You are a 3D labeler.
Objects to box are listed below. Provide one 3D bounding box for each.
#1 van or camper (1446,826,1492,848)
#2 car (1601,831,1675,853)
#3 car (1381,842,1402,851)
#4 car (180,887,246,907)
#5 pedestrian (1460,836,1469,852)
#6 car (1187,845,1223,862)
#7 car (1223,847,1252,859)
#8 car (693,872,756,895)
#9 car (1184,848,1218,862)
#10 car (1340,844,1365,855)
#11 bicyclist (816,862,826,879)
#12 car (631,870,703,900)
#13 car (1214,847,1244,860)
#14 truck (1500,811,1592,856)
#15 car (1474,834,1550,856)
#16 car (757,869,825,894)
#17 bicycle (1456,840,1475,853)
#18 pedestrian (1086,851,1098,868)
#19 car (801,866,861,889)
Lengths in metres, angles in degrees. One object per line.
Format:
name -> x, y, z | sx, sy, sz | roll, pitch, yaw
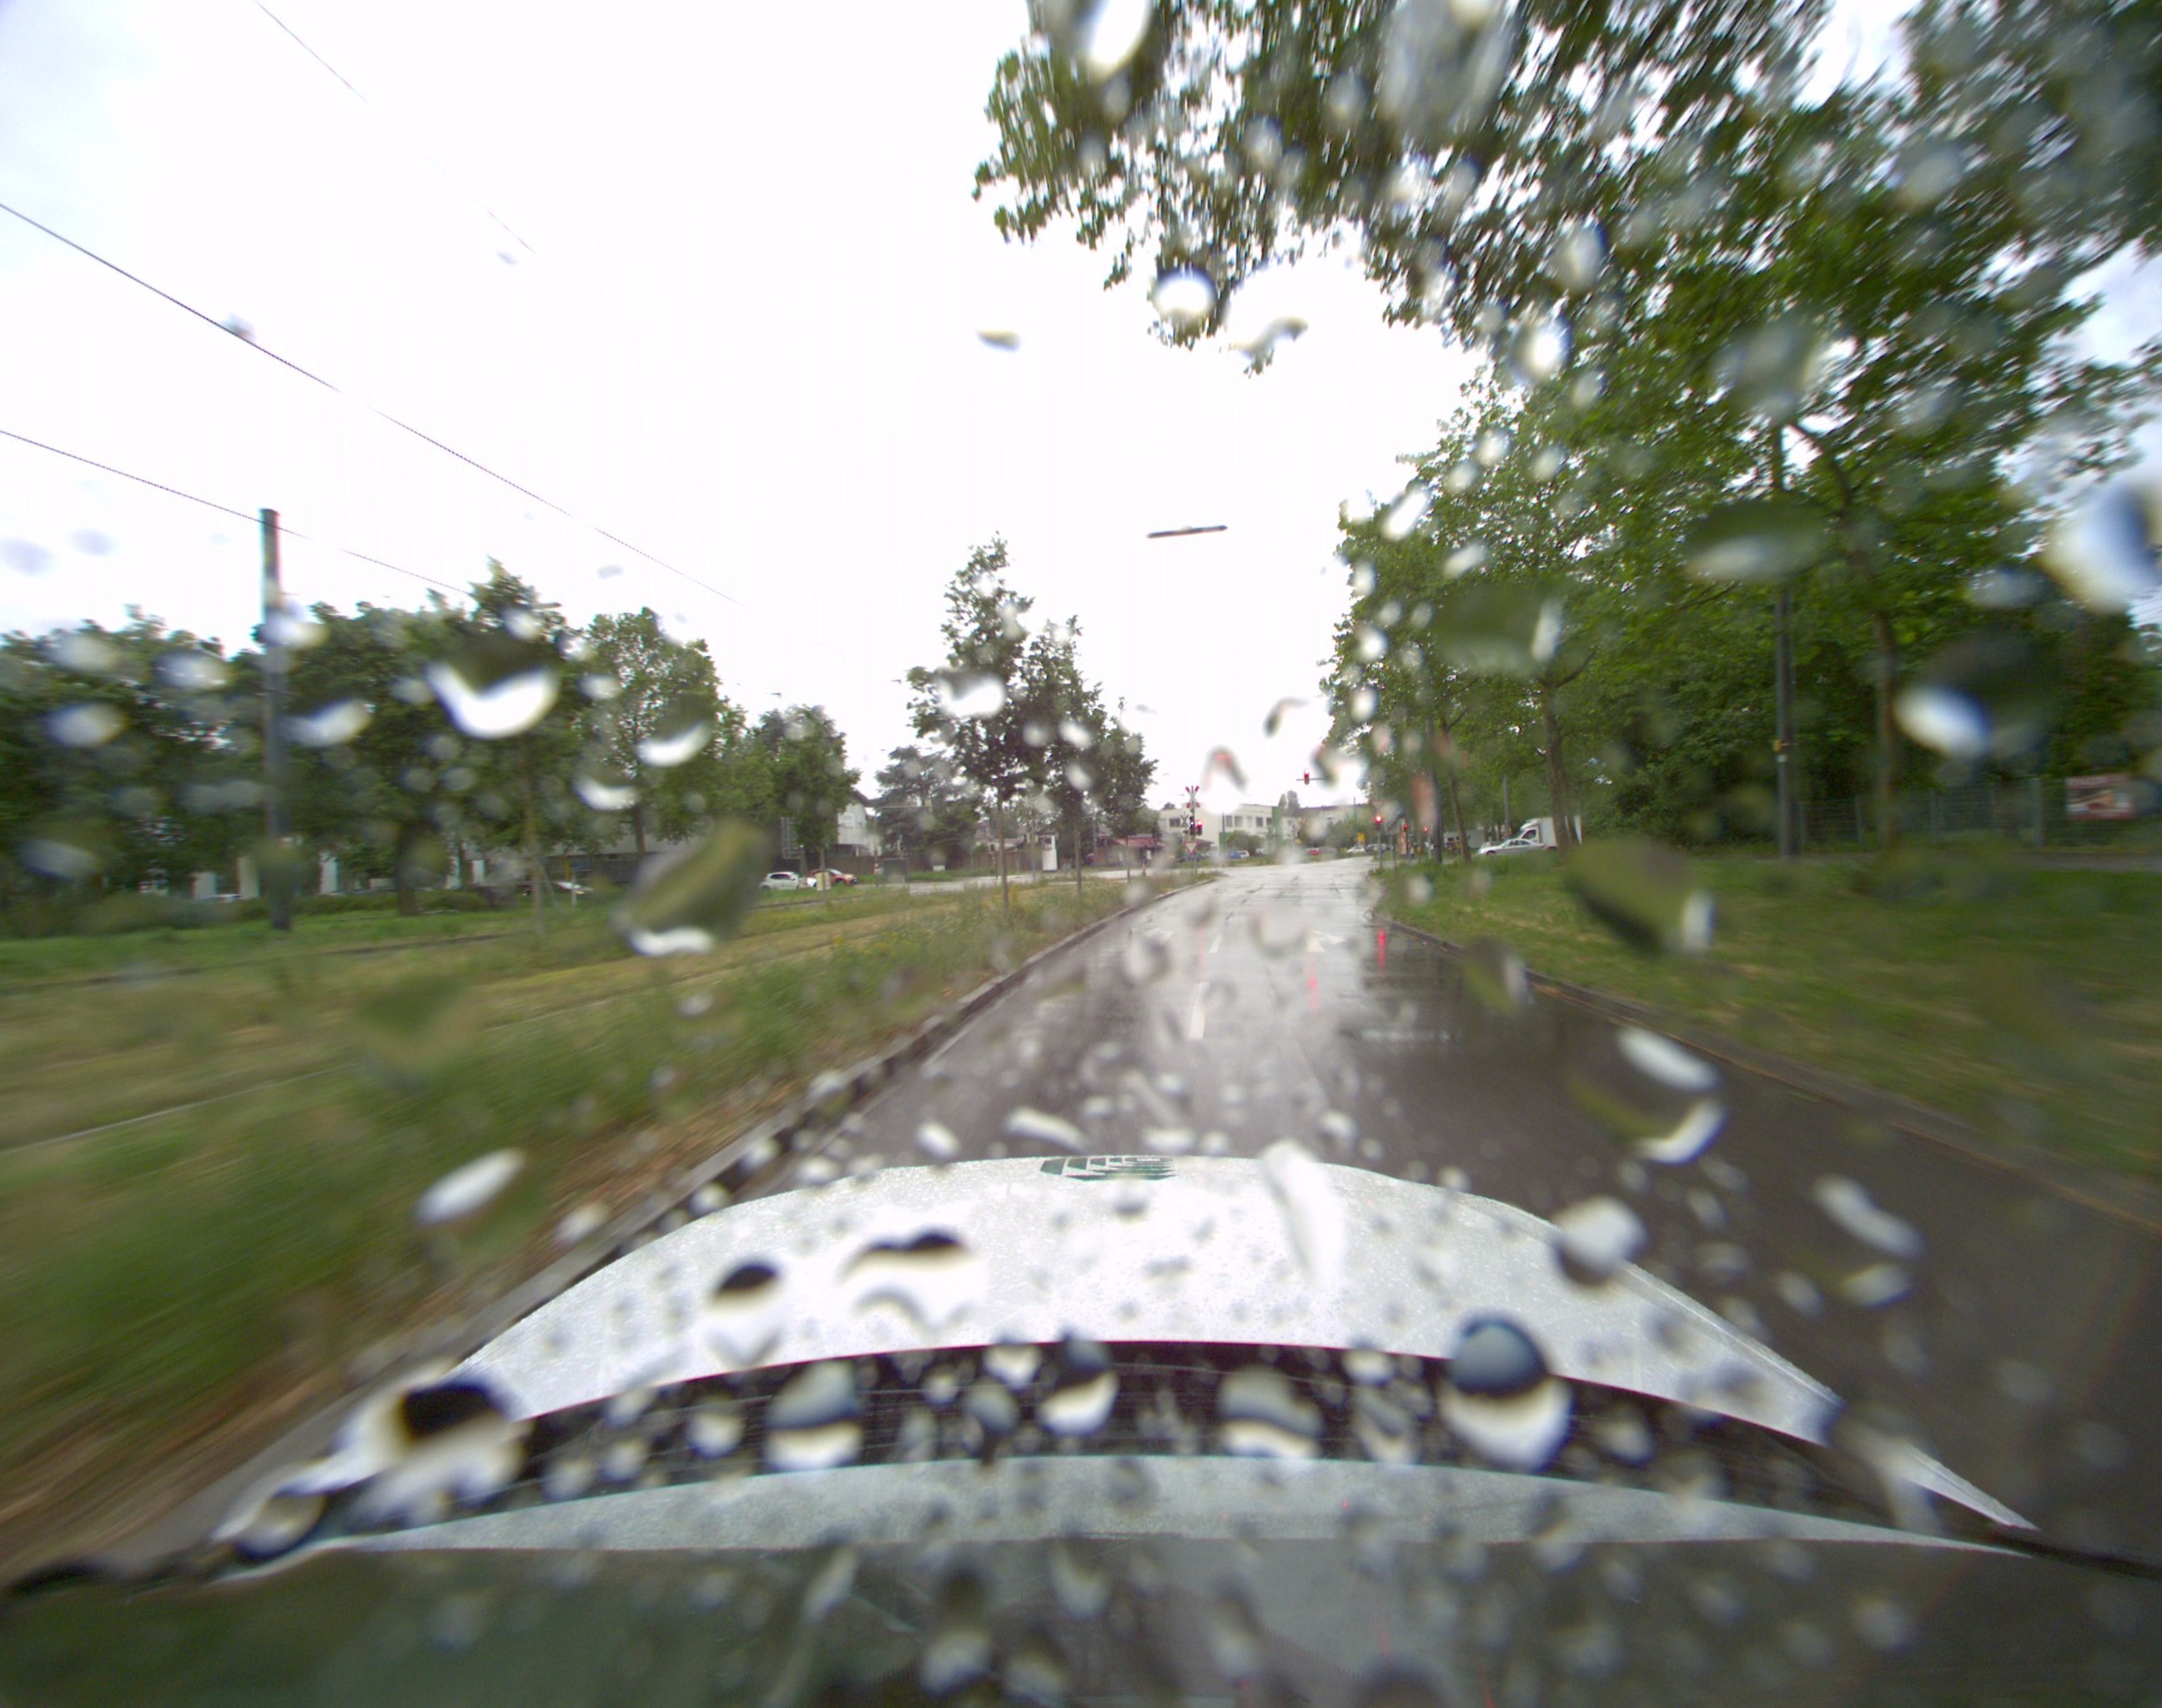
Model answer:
van or camper -> 51.003, -2.253, 107.198 | 5.170, 2.697, 2.258 | -1, 1, 34
car -> 40.346, -0.862, 59.109 | 4.082, 1.390, 1.650 | -2, -1, 12
car -> 68.434, -1.688, 179.599 | 4.099, 1.860, 1.682 | -3, -1, 22
car -> -74.437, 3.669, 69.898 | 3.973, 1.420, 1.538 | -3, 0, 1
pedestrian -> 36.177, -0.979, 76.816 | 0.573, 1.475, 0.500 | -3, -1, 3
car -> 15.450, -0.046, 101.772 | 4.099, 1.860, 1.682 | -3, -1, 22
car -> 20.931, -0.174, 108.852 | 3.728, 1.442, 1.767 | -3, 0, 9
car -> -26.637, 2.208, 60.913 | 3.895, 1.498, 1.652 | -3, 1, 0
car -> 14.506, 0.119, 98.428 | 3.720, 1.442, 1.771 | -3, 0, 18
car -> 51.955, -0.781, 155.878 | 4.108, 1.860, 1.678 | -3, -1, 11
bicyclist -> -25.903, 1.635, 81.107 | 0.679, 1.683, 0.644 | -3, -1, 11
car -> -29.219, 2.188, 57.535 | 4.194, 1.796, 1.652 | -3, 1, 1
car -> 19.221, -0.088, 105.898 | 3.728, 1.442, 1.767 | -3, 0, 9
truck -> 34.421, -1.462, 60.437 | 5.432, 3.058, 1.988 | -2, -1, 12
car -> 30.684, -0.619, 58.067 | 4.482, 1.390, 1.650 | -2, -1, 12
car -> -20.225, 1.915, 56.805 | 4.047, 1.499, 1.654 | -3, -1, 4
bicycle -> 36.257, -0.696, 76.806 | 1.555, 1.101, 0.500 | -3, -1, 3
pedestrian -> 1.169, 0.584, 87.430 | 0.805, 1.763, 0.900 | -3, -1, -29
car -> -18.572, 1.743, 60.543 | 3.801, 1.499, 1.654 | -3, -1, 4
